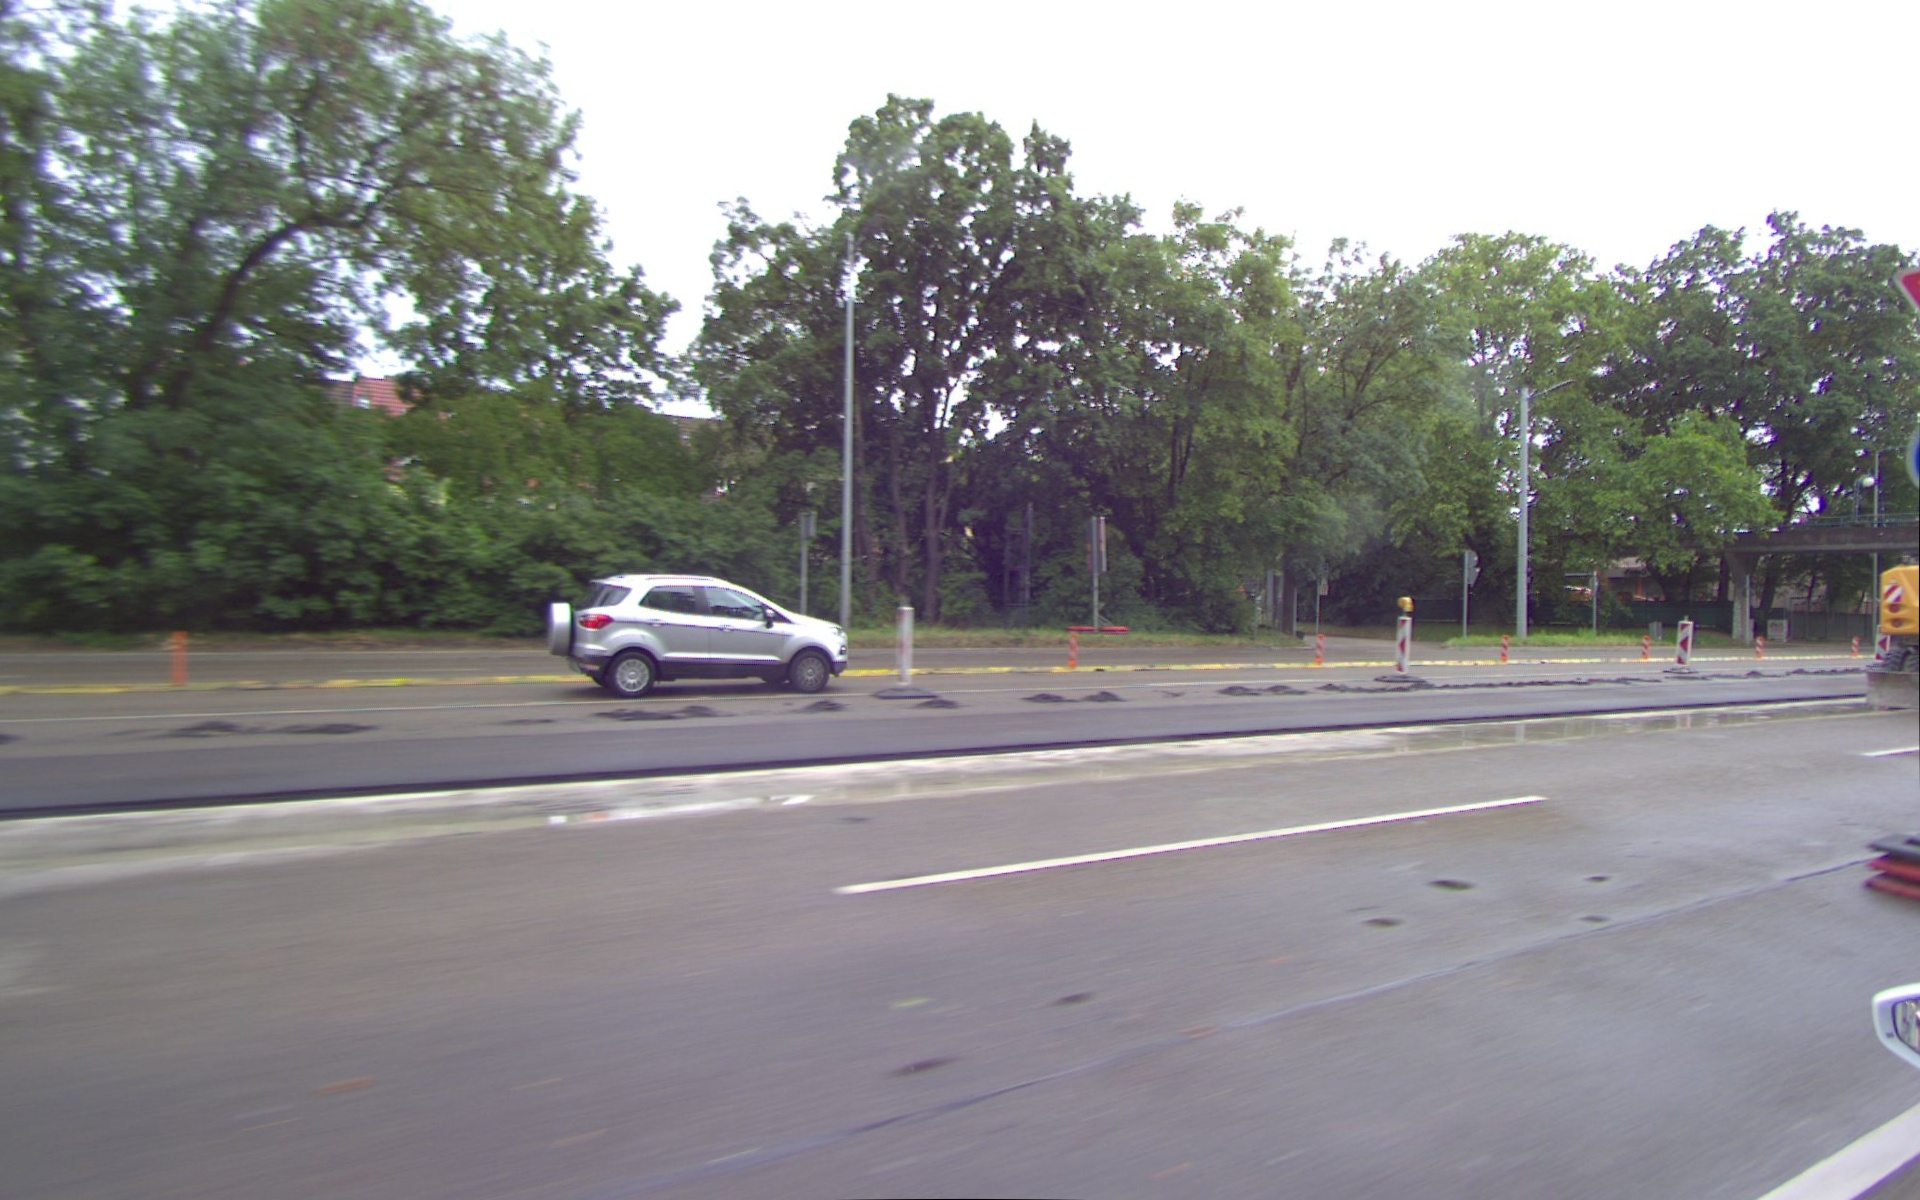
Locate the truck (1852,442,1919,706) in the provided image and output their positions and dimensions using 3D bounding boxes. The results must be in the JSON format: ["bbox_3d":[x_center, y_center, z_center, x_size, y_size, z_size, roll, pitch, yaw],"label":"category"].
[{"bbox_3d":[20.485,-0.326,18.844,10.641,4.316,2.880,1,1,-33],"label":"truck"}]

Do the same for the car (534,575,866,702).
[{"bbox_3d":[-3.713,0.495,14.483,4.310,1.585,1.880,1,1,-29],"label":"car"}]
